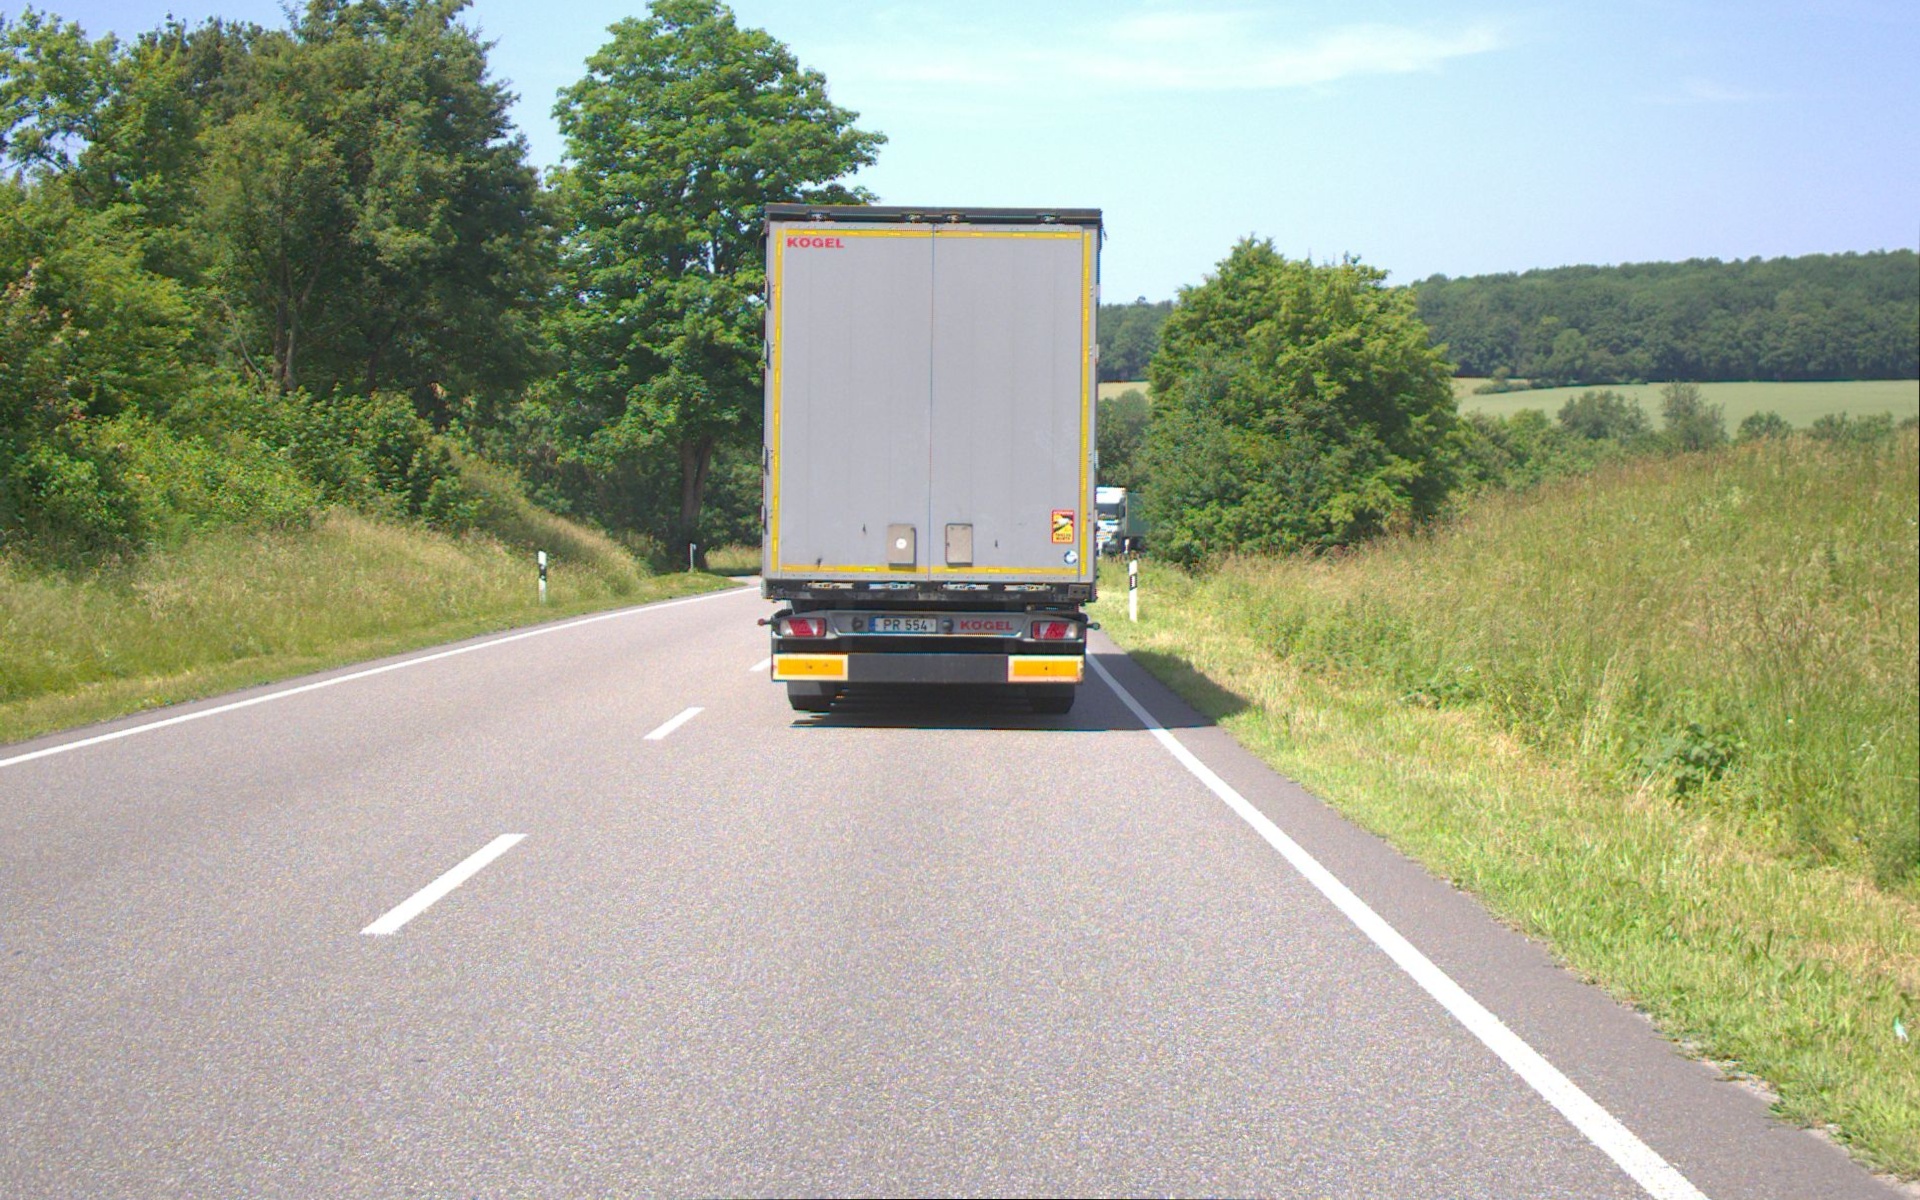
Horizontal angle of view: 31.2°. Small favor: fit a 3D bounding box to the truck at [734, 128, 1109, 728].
[{"bbox_3d":[-0.292,-1.435,31.810,2.817,4.517,11.769,0,1,0],"label":"truck"}]
